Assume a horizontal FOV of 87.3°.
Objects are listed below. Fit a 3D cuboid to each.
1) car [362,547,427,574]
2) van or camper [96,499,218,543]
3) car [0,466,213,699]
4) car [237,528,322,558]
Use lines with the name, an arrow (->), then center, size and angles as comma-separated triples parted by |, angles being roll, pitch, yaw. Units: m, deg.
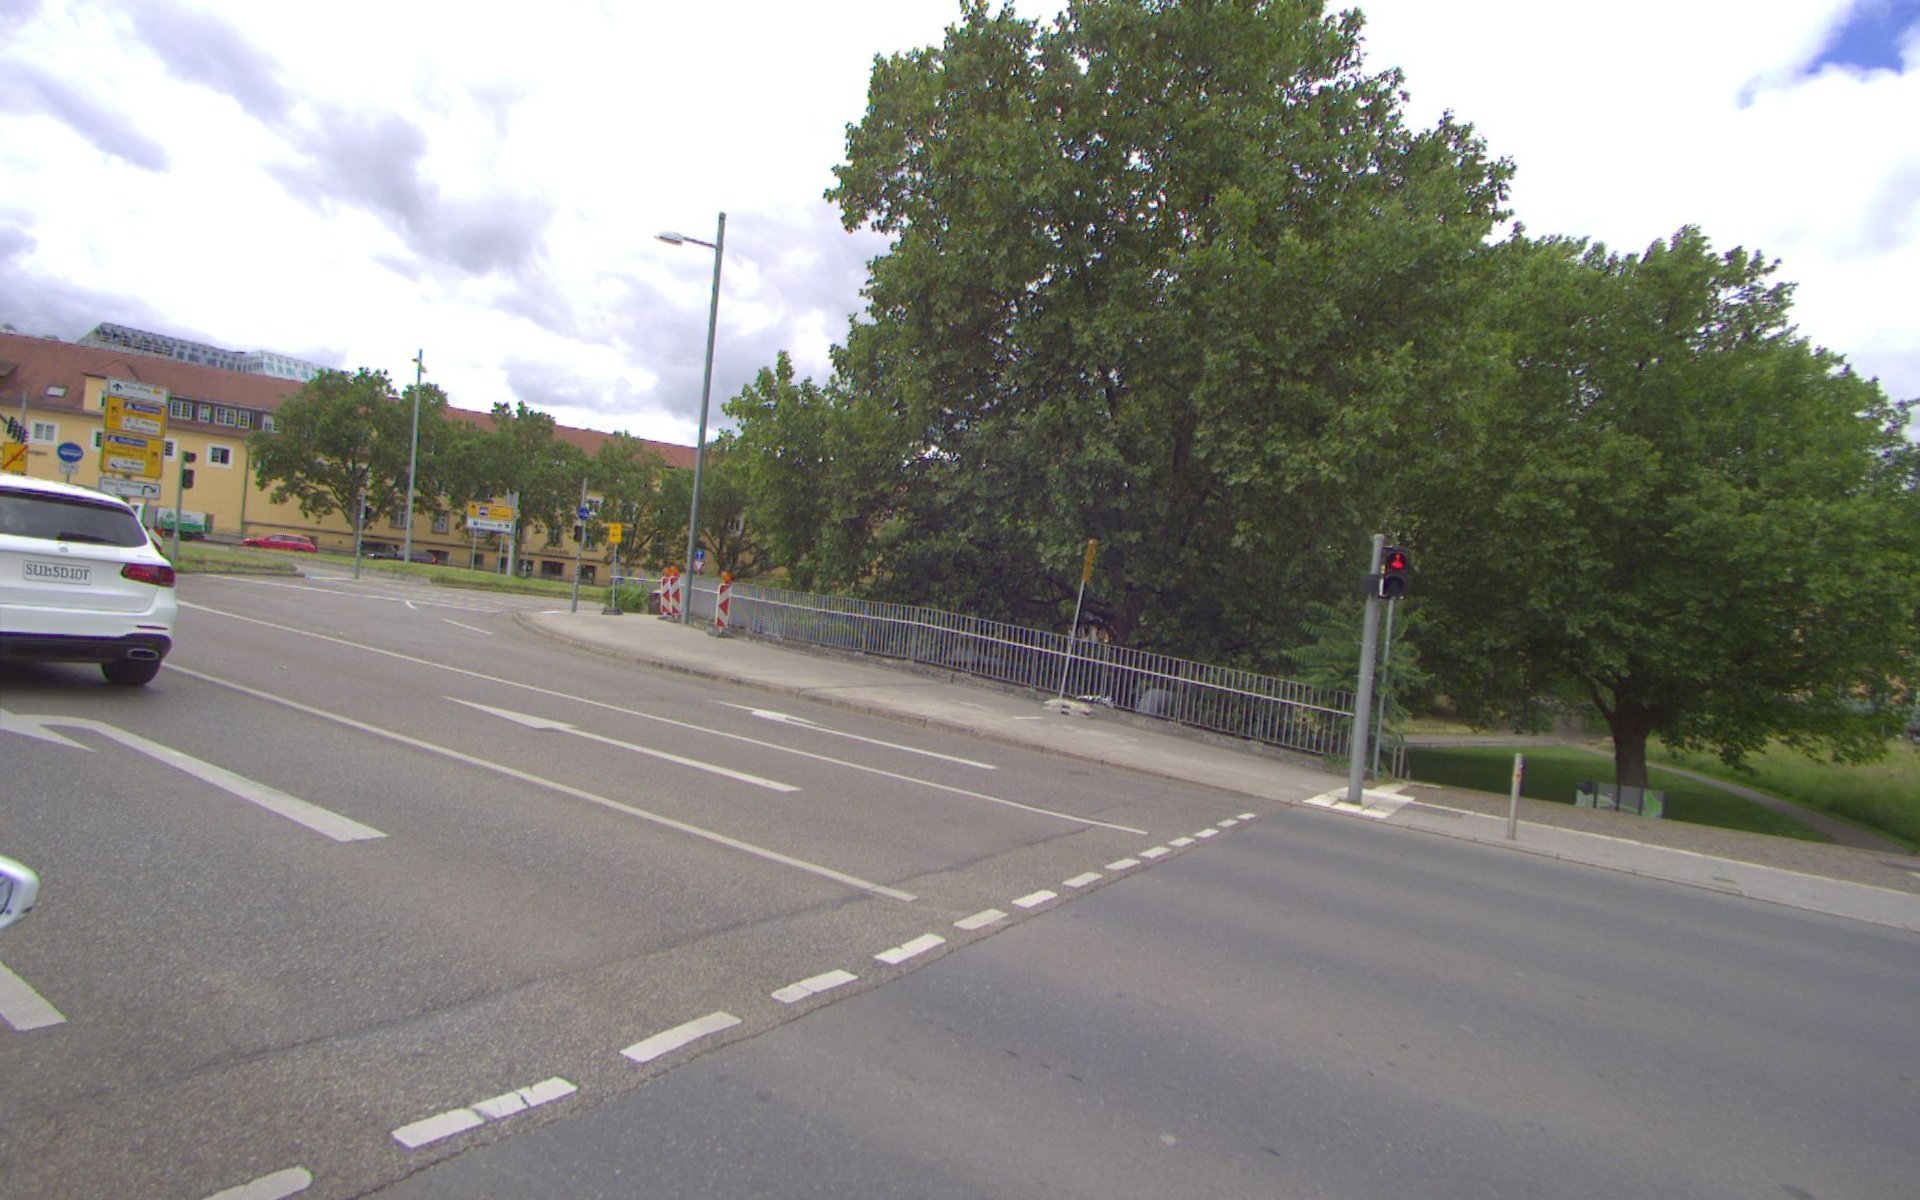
car -> -41.736, -2.879, 74.339 | 4.042, 1.430, 1.648 | 8, -1, -27
van or camper -> -54.226, -5.289, 68.070 | 5.946, 2.038, 2.009 | 7, -1, -23
car -> -8.550, -0.319, 8.616 | 4.305, 1.667, 1.822 | 7, 0, 31
car -> -47.981, -4.021, 71.030 | 4.638, 1.437, 1.586 | 8, -1, -27
